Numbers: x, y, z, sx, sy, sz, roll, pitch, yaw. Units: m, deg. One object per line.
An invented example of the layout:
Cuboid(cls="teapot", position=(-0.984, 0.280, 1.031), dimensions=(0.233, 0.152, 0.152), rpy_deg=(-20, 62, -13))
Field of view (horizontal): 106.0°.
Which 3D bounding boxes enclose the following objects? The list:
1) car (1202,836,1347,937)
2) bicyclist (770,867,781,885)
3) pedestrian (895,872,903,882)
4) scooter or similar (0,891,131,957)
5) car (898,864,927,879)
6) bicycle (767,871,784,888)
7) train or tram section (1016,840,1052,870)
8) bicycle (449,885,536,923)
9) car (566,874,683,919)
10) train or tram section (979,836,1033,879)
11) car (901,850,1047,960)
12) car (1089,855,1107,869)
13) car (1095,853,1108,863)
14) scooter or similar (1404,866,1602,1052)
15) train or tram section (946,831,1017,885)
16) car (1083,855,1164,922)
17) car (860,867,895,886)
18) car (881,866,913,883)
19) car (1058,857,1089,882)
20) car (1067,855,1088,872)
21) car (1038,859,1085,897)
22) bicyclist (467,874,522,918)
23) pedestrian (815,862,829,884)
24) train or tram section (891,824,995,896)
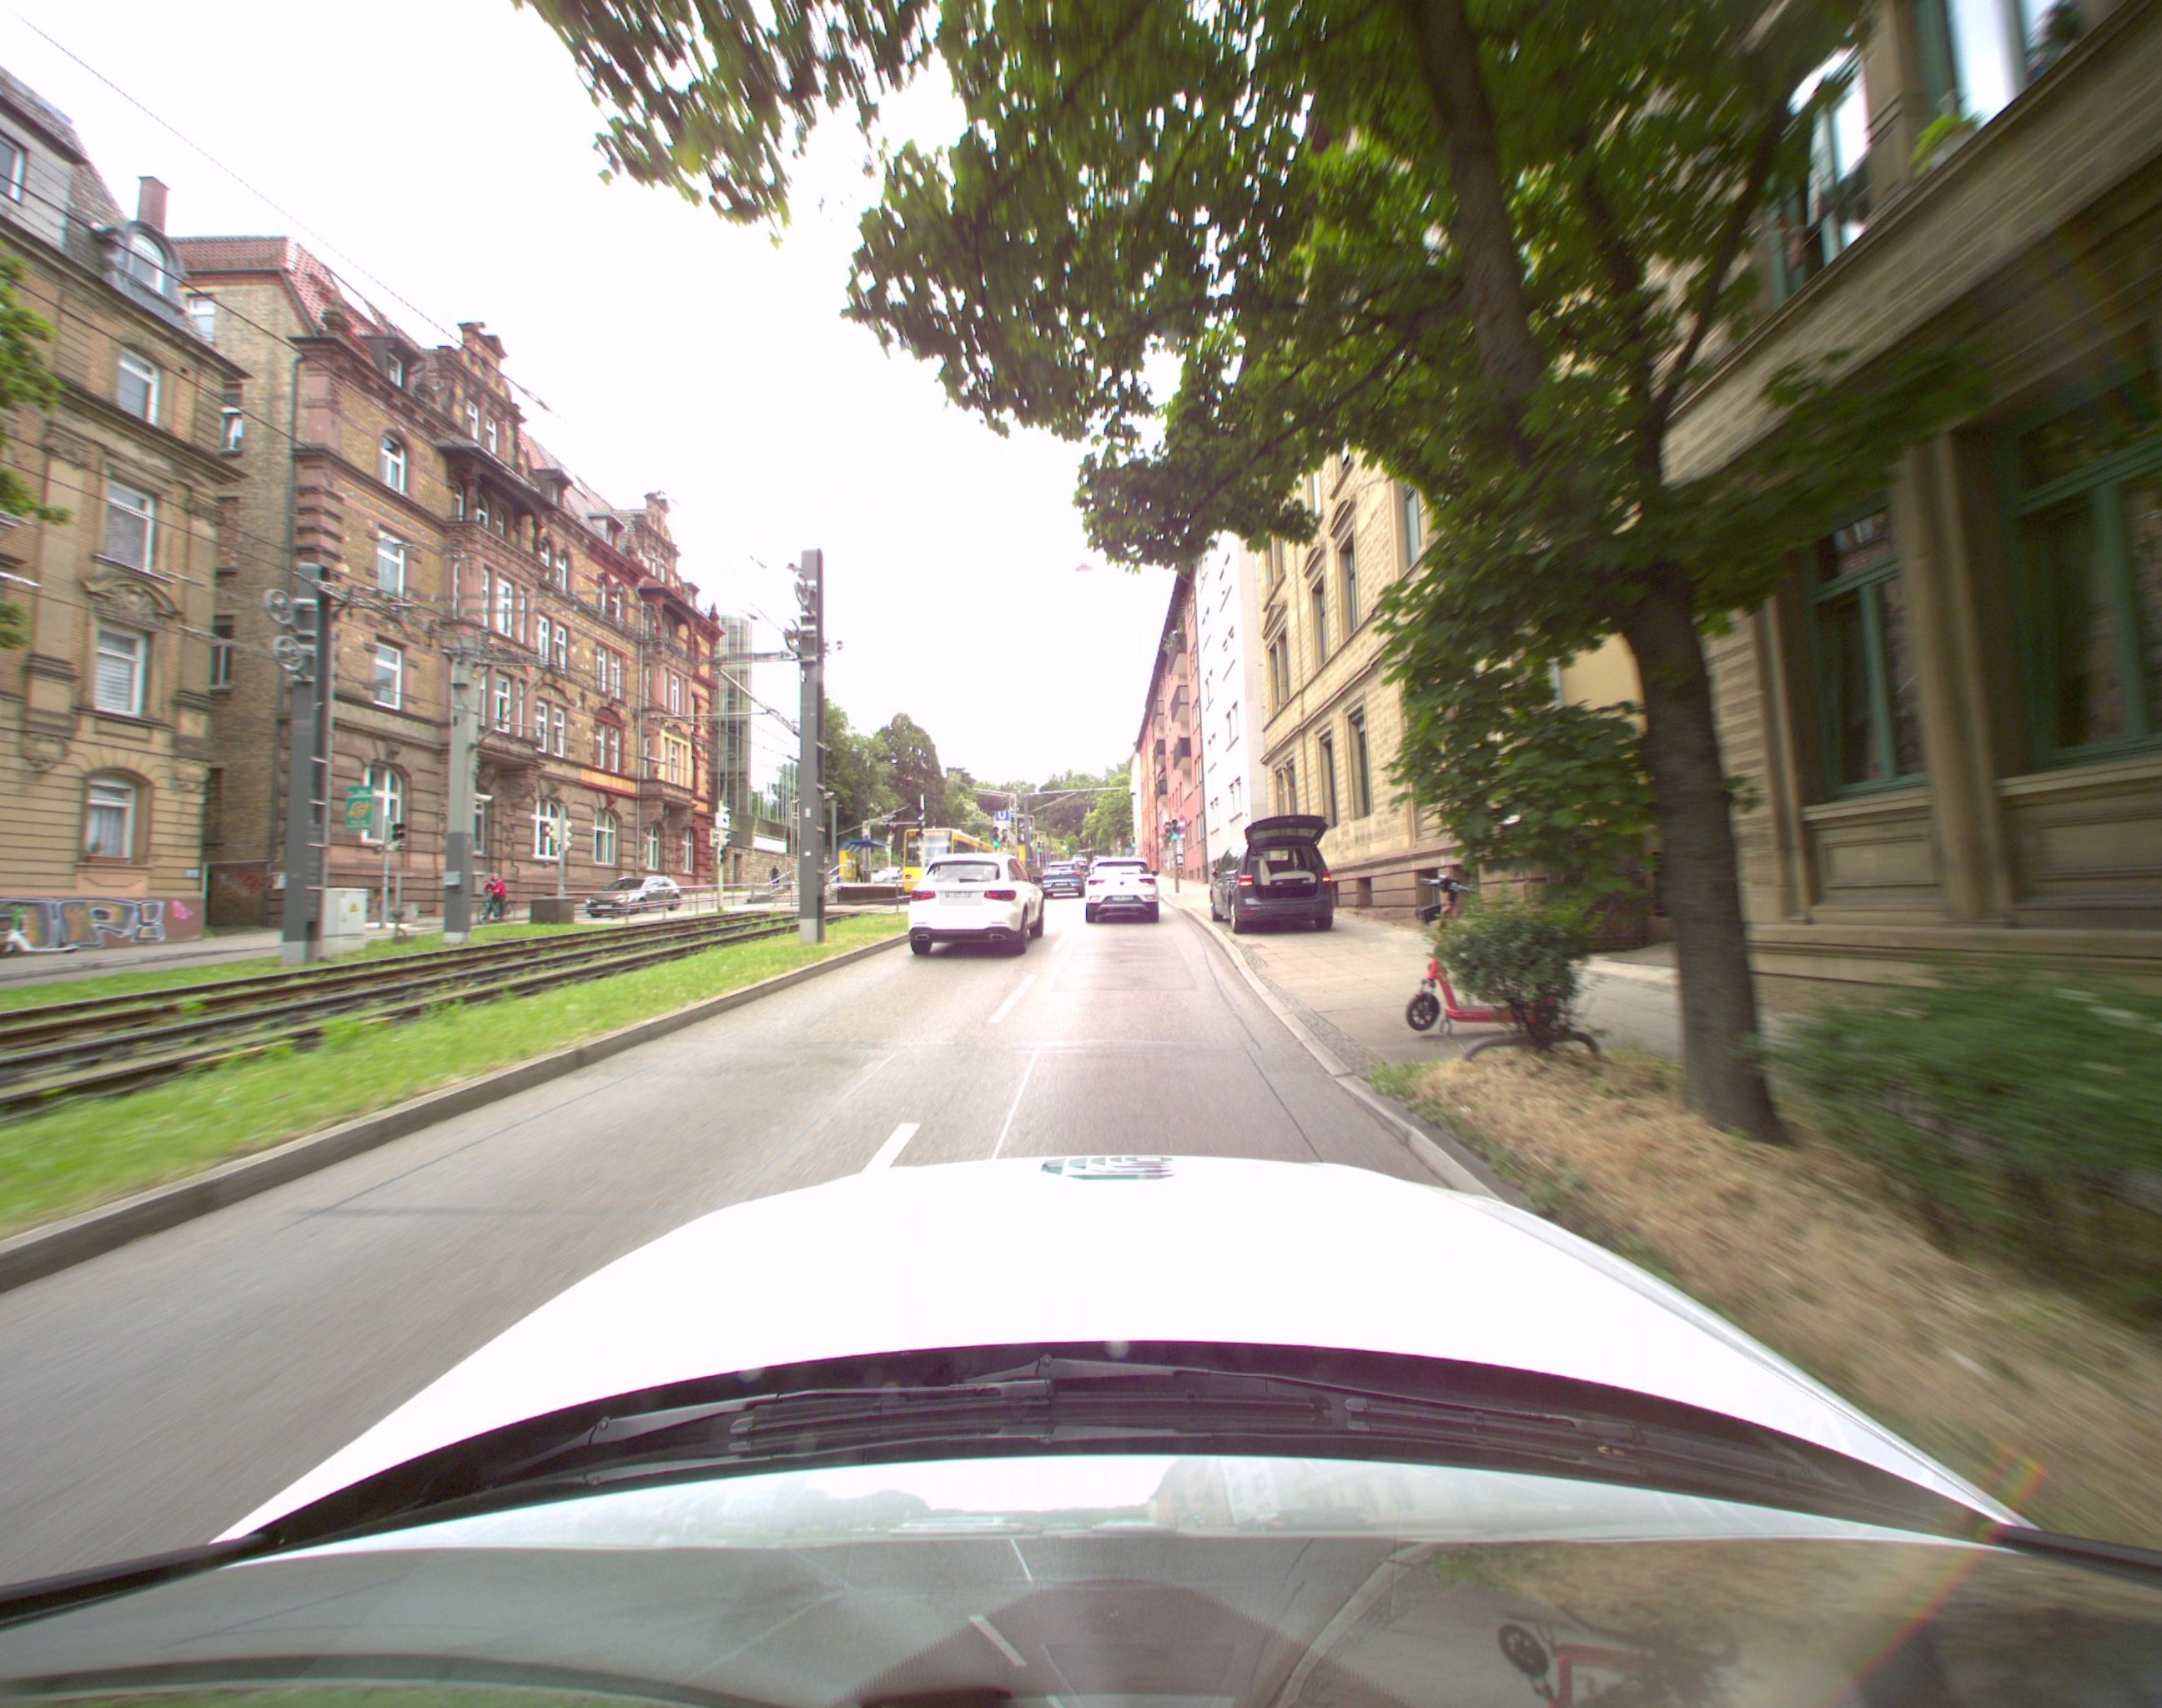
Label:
Cuboid(cls="car", position=(3.579, 0.552, 15.877), dimensions=(1.829, 1.601, 4.194), rpy_deg=(-3, 0, 1))
Cuboid(cls="bicyclist", position=(-21.119, 1.525, 56.313), dimensions=(0.516, 1.191, 0.656), rpy_deg=(-2, 0, 2))
Cuboid(cls="pedestrian", position=(-13.582, 1.716, 60.738), dimensions=(0.429, 0.682, 0.490), rpy_deg=(-2, 0, 1))
Cuboid(cls="scooter or similar", position=(-22.304, 1.490, 17.748), dimensions=(0.627, 1.255, 2.214), rpy_deg=(-2, 0, -1))
Cuboid(cls="car", position=(-16.685, 1.742, 80.826), dimensions=(1.824, 1.403, 4.002), rpy_deg=(-2, 0, 2))
Cuboid(cls="bicycle", position=(-21.117, 1.744, 56.312), dimensions=(0.571, 1.143, 1.304), rpy_deg=(-2, 0, 2))
Cuboid(cls="train or tram section", position=(-5.590, 0.121, 99.538), dimensions=(2.984, 3.349, 13.444), rpy_deg=(-2, 0, 2))
Cuboid(cls="bicycle", position=(-19.976, 1.681, 27.738), dimensions=(0.935, 1.100, 2.703), rpy_deg=(-2, 0, 1))
Cuboid(cls="car", position=(-16.873, 1.534, 30.343), dimensions=(1.986, 1.403, 4.002), rpy_deg=(-2, 0, 2))
Cuboid(cls="train or tram section", position=(-6.465, 0.297, 72.629), dimensions=(2.984, 3.349, 13.444), rpy_deg=(-2, 0, 2))
Cuboid(cls="car", position=(-1.736, 0.784, 14.777), dimensions=(1.828, 1.667, 4.673), rpy_deg=(0, 0, 3))
Cuboid(cls="car", position=(1.989, 0.954, 94.322), dimensions=(2.061, 1.546, 4.194), rpy_deg=(0, 0, 1))
Cuboid(cls="car", position=(3.354, 0.697, 131.728), dimensions=(2.061, 1.546, 4.194), rpy_deg=(0, 0, 1))
Cuboid(cls="scooter or similar", position=(2.695, 0.664, 5.251), dimensions=(1.031, 1.119, 0.332), rpy_deg=(-3, 0, 7))
Cuboid(cls="train or tram section", position=(-6.911, 0.274, 59.126), dimensions=(2.984, 3.349, 13.535), rpy_deg=(-2, 0, 2))
Cuboid(cls="car", position=(0.989, 0.799, 20.905), dimensions=(1.830, 1.546, 4.192), rpy_deg=(0, 0, 0))
Cuboid(cls="car", position=(-17.030, 1.846, 68.384), dimensions=(1.824, 1.403, 4.002), rpy_deg=(-2, 0, 2))
Cuboid(cls="car", position=(-16.884, 1.826, 74.806), dimensions=(1.824, 1.403, 4.002), rpy_deg=(-2, 0, 2))
Cuboid(cls="car", position=(-0.455, 0.951, 52.512), dimensions=(1.829, 1.546, 4.194), rpy_deg=(0, 0, 1))
Cuboid(cls="car", position=(-0.325, 0.877, 74.944), dimensions=(1.829, 1.546, 4.194), rpy_deg=(0, 0, 1))
Cuboid(cls="car", position=(-0.798, 1.002, 35.794), dimensions=(1.829, 1.546, 4.194), rpy_deg=(0, 0, 1))
Cuboid(cls="bicyclist", position=(-19.992, 1.421, 27.782), dimensions=(0.935, 1.425, 1.188), rpy_deg=(-2, 0, 0))
Cuboid(cls="pedestrian", position=(-21.198, 1.587, 66.691), dimensions=(0.806, 1.755, 0.817), rpy_deg=(-2, 0, 1))
Cuboid(cls="train or tram section", position=(-7.307, 0.287, 45.662), dimensions=(2.984, 3.349, 13.444), rpy_deg=(-2, 0, 2))
